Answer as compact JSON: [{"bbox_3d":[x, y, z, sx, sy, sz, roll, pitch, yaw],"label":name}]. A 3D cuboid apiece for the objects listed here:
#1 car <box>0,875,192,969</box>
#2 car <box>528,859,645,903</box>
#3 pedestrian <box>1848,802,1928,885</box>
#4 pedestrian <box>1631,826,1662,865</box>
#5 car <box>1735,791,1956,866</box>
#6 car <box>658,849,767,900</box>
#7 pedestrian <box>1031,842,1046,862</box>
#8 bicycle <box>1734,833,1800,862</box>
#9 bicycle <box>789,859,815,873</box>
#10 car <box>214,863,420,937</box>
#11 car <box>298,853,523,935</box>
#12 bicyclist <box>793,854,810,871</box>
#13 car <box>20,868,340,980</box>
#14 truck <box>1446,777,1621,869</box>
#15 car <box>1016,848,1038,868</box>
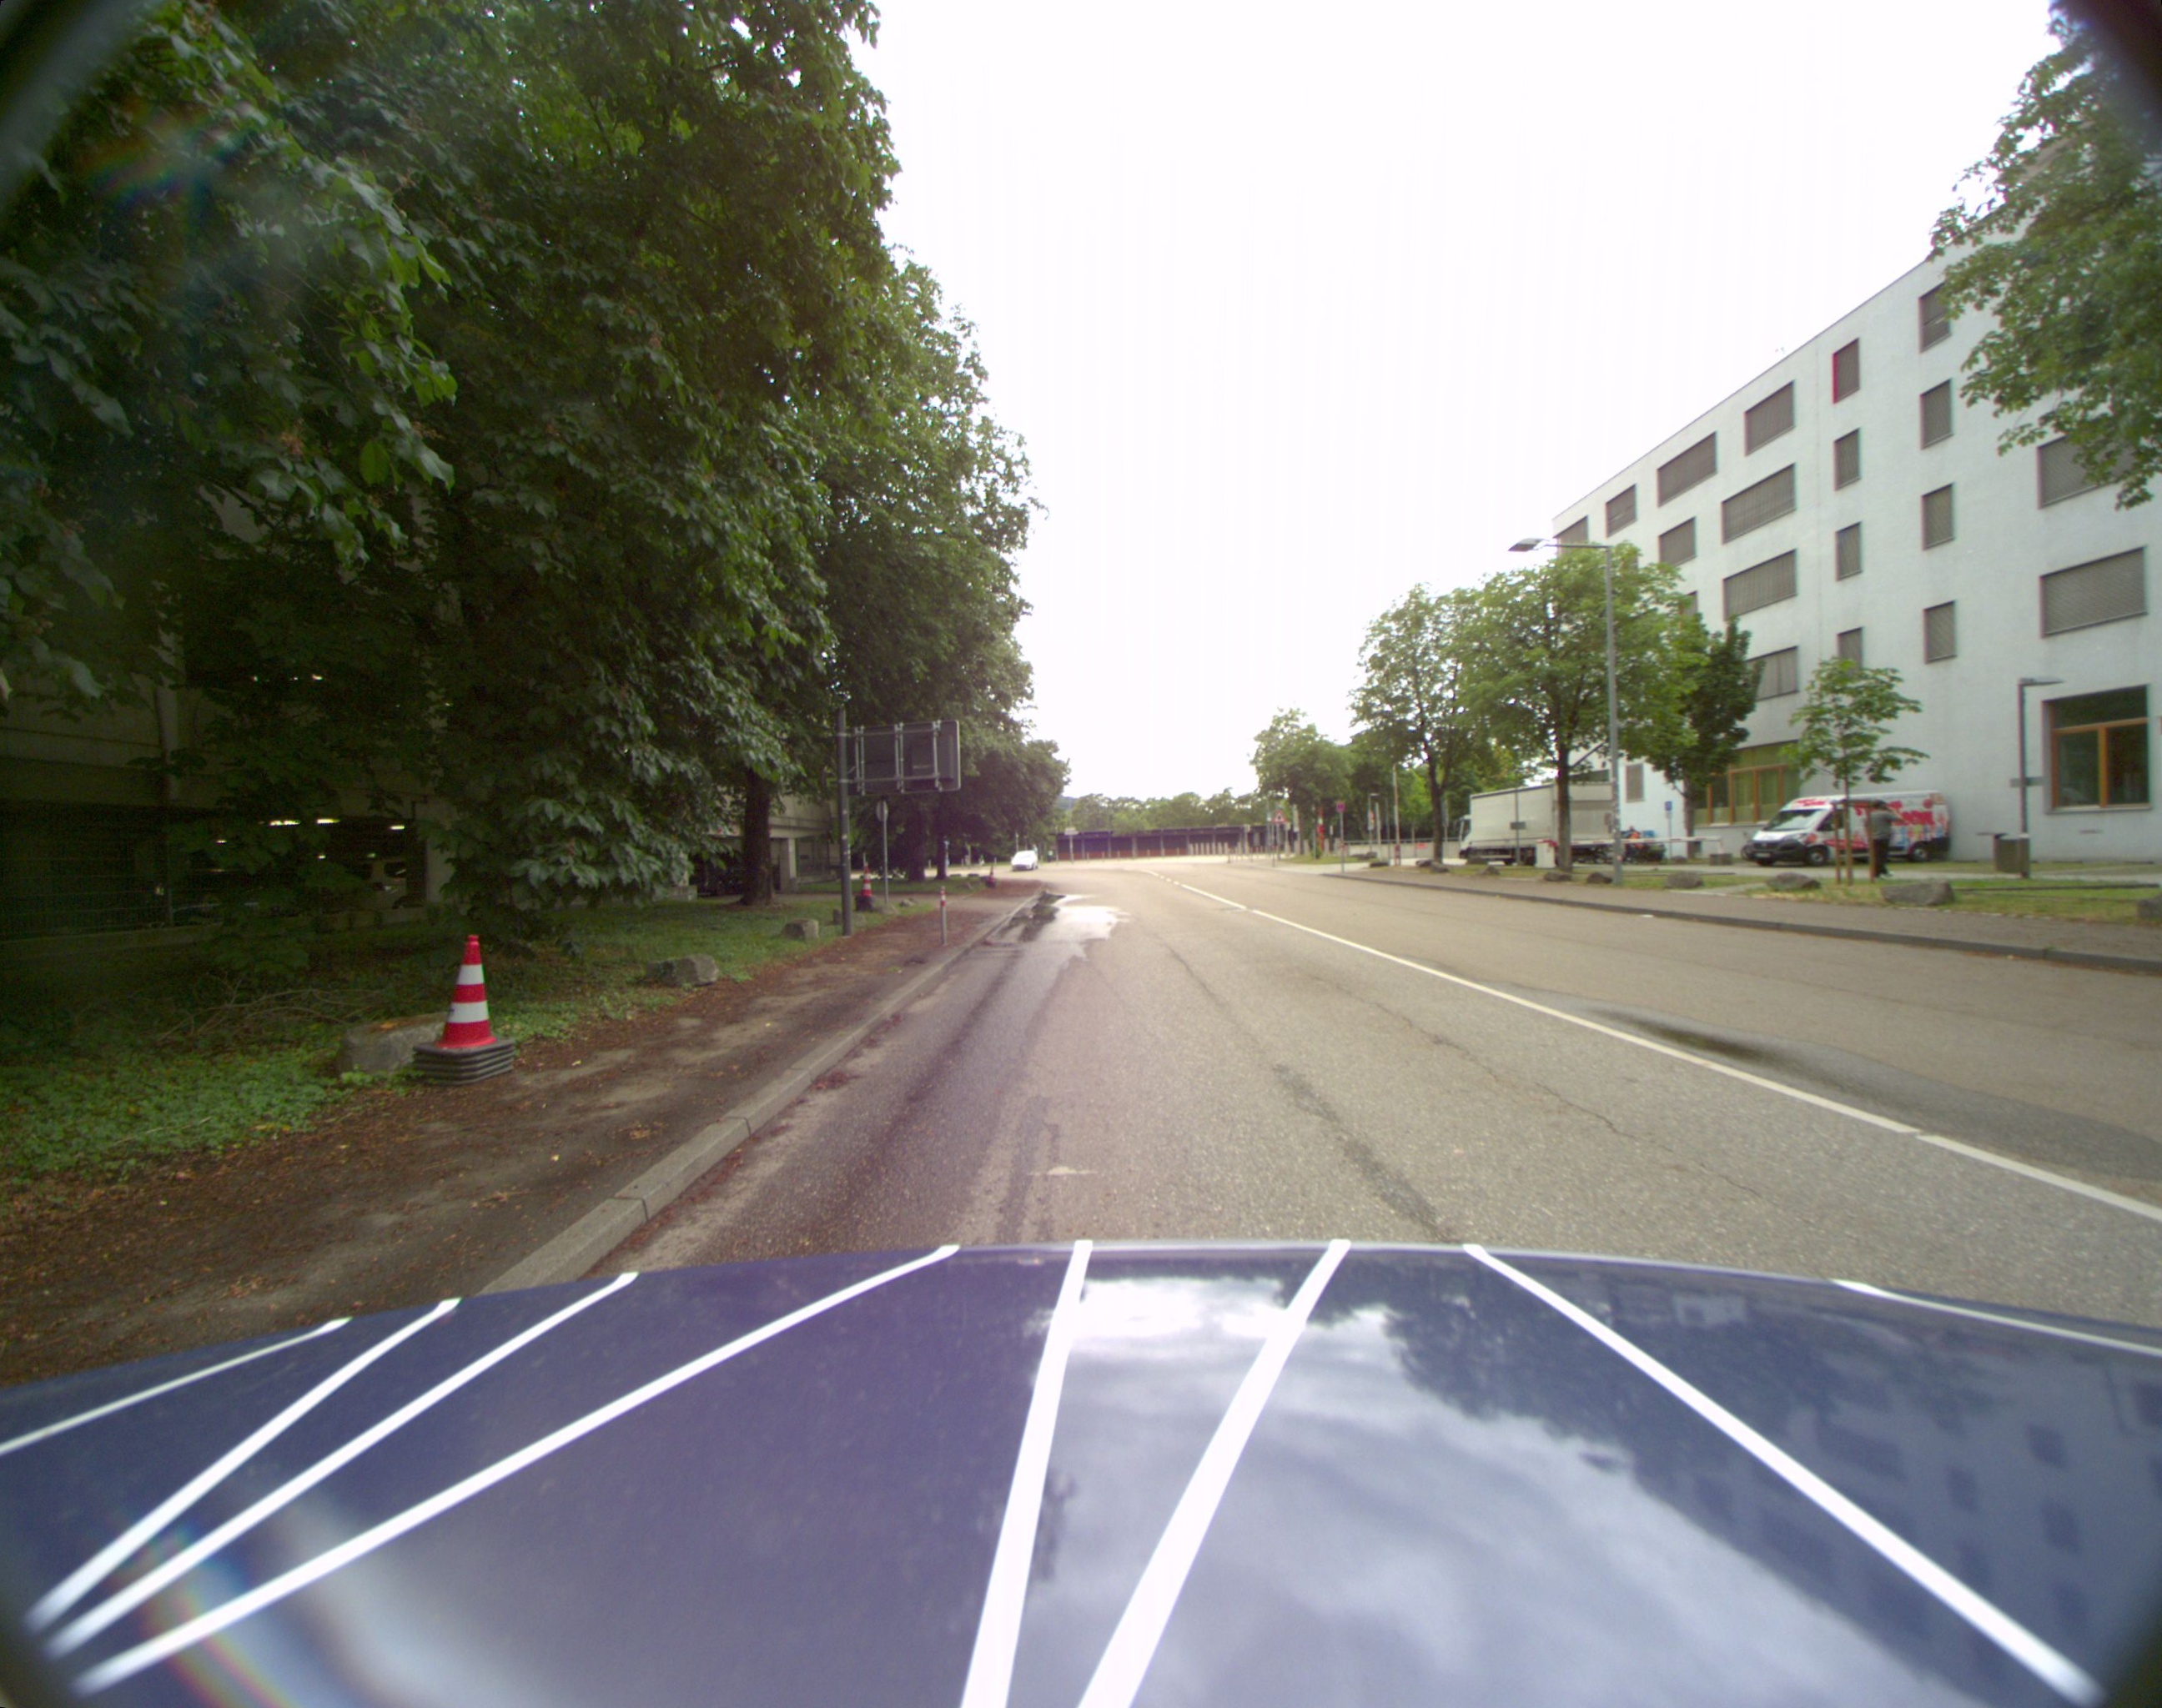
[{"bbox_3d":[-20.377,1.310,14.768,1.721,1.537,3.700,-3,2,-1],"label":"car"},{"bbox_3d":[-20.013,1.059,30.986,1.876,1.445,4.000,-3,2,4],"label":"car"},{"bbox_3d":[17.025,-0.223,16.039,0.845,1.662,0.786,-3,2,-5],"label":"pedestrian"},{"bbox_3d":[23.638,-0.353,31.758,0.680,1.597,0.885,-5,3,-43],"label":"pedestrian"},{"bbox_3d":[26.600,-0.885,26.585,5.640,2.266,2.078,-3,2,0],"label":"car"},{"bbox_3d":[-14.660,0.744,30.573,1.924,1.824,4.735,-3,1,0],"label":"car"},{"bbox_3d":[-4.068,-0.177,72.924,1.200,1.824,0.927,-3,3,4],"label":"pedestrian"},{"bbox_3d":[27.615,-0.280,30.586,2.029,1.064,0.613,-3,2,4],"label":"bicycle"},{"bbox_3d":[-25.188,1.070,68.587,2.050,1.137,0.777,-3,3,-1],"label":"bicycle"},{"bbox_3d":[-20.269,1.157,20.413,1.721,1.577,3.690,-3,2,-1],"label":"car"},{"bbox_3d":[-17.254,0.921,19.952,1.589,1.699,4.666,-3,2,1],"label":"car"},{"bbox_3d":[-25.208,0.768,68.575,1.101,1.487,0.927,-3,3,-1],"label":"bicyclist"},{"bbox_3d":[-17.479,1.254,15.085,1.589,1.699,3.856,-3,2,1],"label":"car"},{"bbox_3d":[20.288,-1.357,34.836,2.684,3.580,8.361,-3,2,-2],"label":"truck"},{"bbox_3d":[-4.296,0.300,59.849,1.606,1.448,3.500,-3,2,-5],"label":"car"}]
